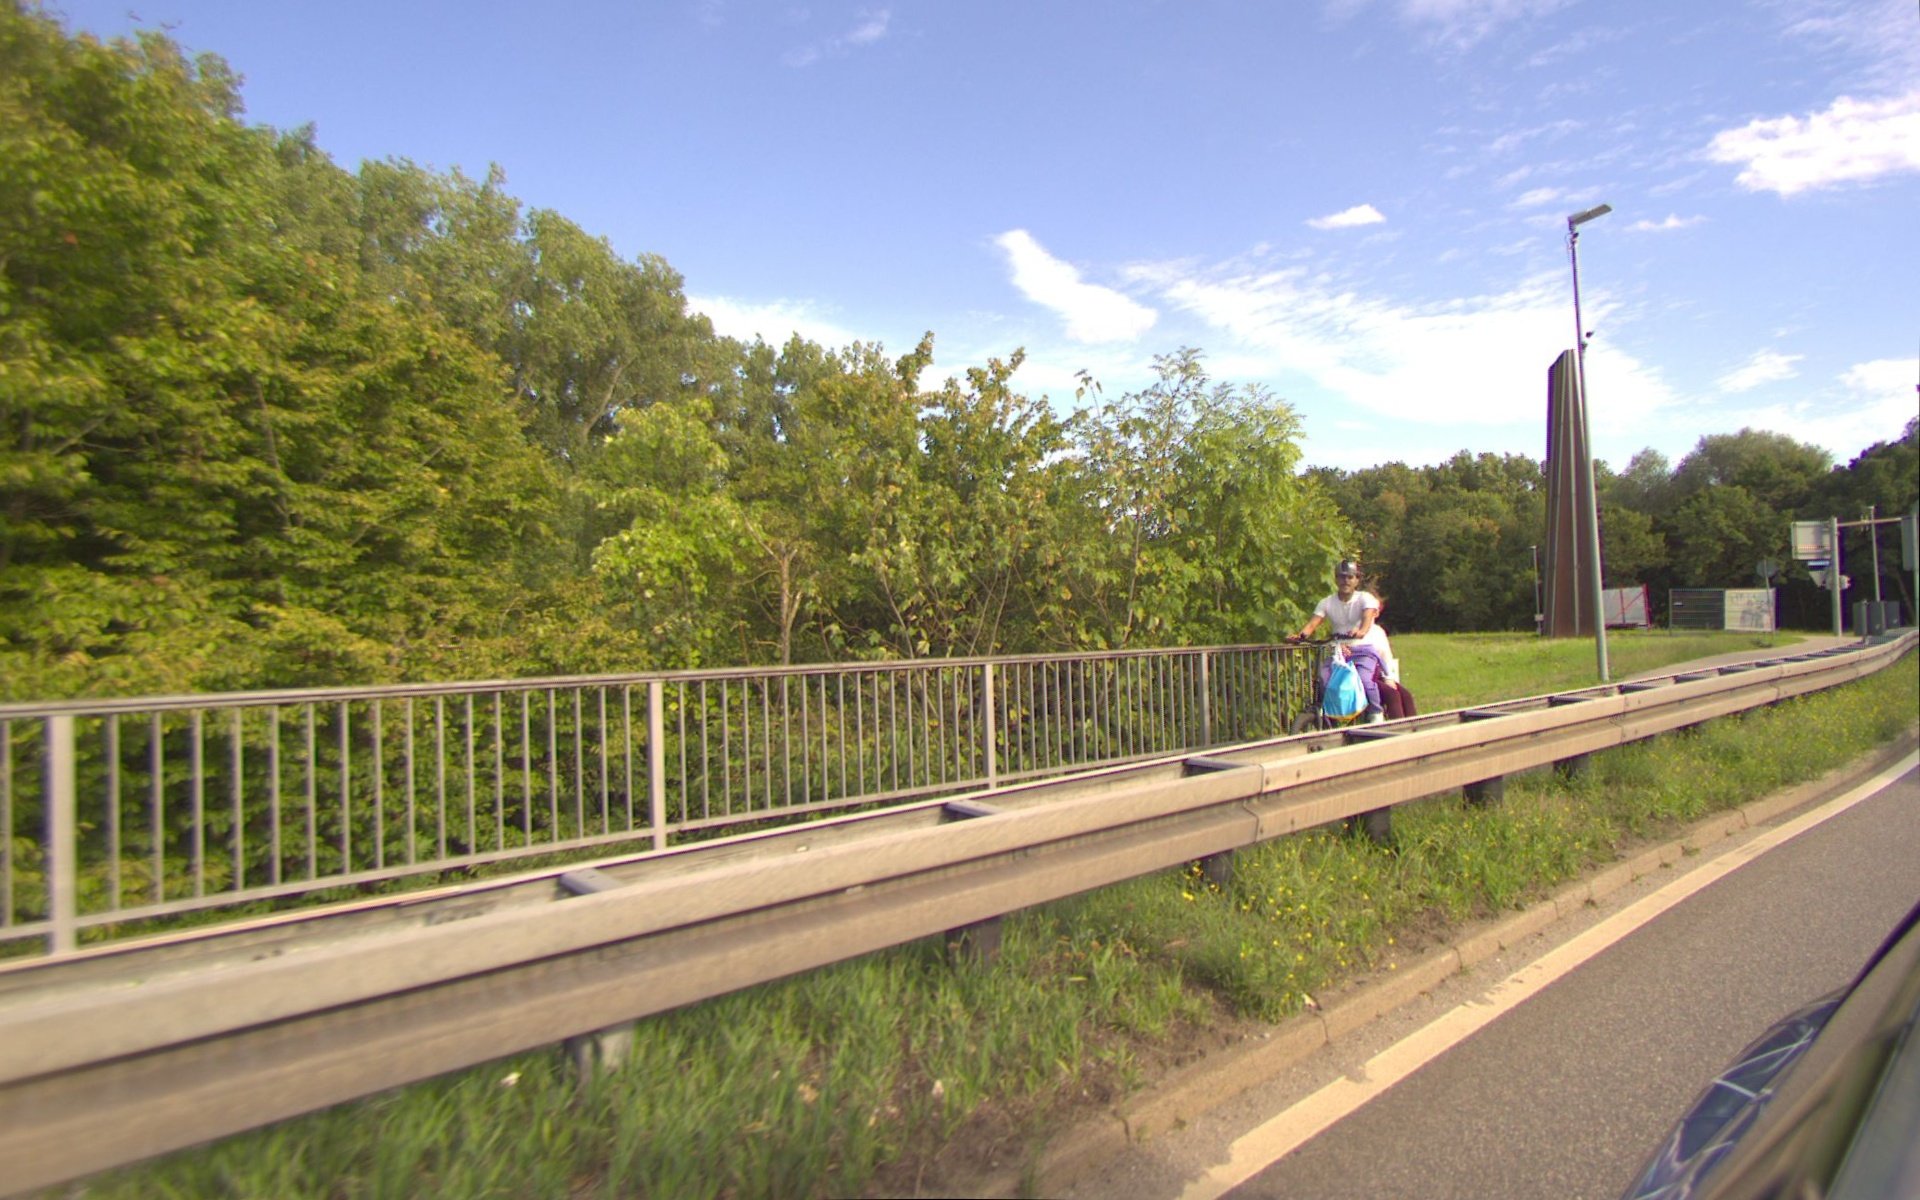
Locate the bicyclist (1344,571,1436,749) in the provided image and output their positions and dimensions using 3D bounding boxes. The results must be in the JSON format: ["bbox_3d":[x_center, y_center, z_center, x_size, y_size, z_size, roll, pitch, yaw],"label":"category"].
[{"bbox_3d":[3.520,0.467,8.281,0.529,1.389,0.501,0,0,-38],"label":"bicyclist"}]

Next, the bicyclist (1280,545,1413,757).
[{"bbox_3d":[3.070,0.375,8.052,0.740,1.577,0.709,0,0,-38],"label":"bicyclist"}]

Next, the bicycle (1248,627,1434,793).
[{"bbox_3d":[3.038,0.807,8.003,1.666,1.134,0.597,0,0,-38],"label":"bicycle"}]
